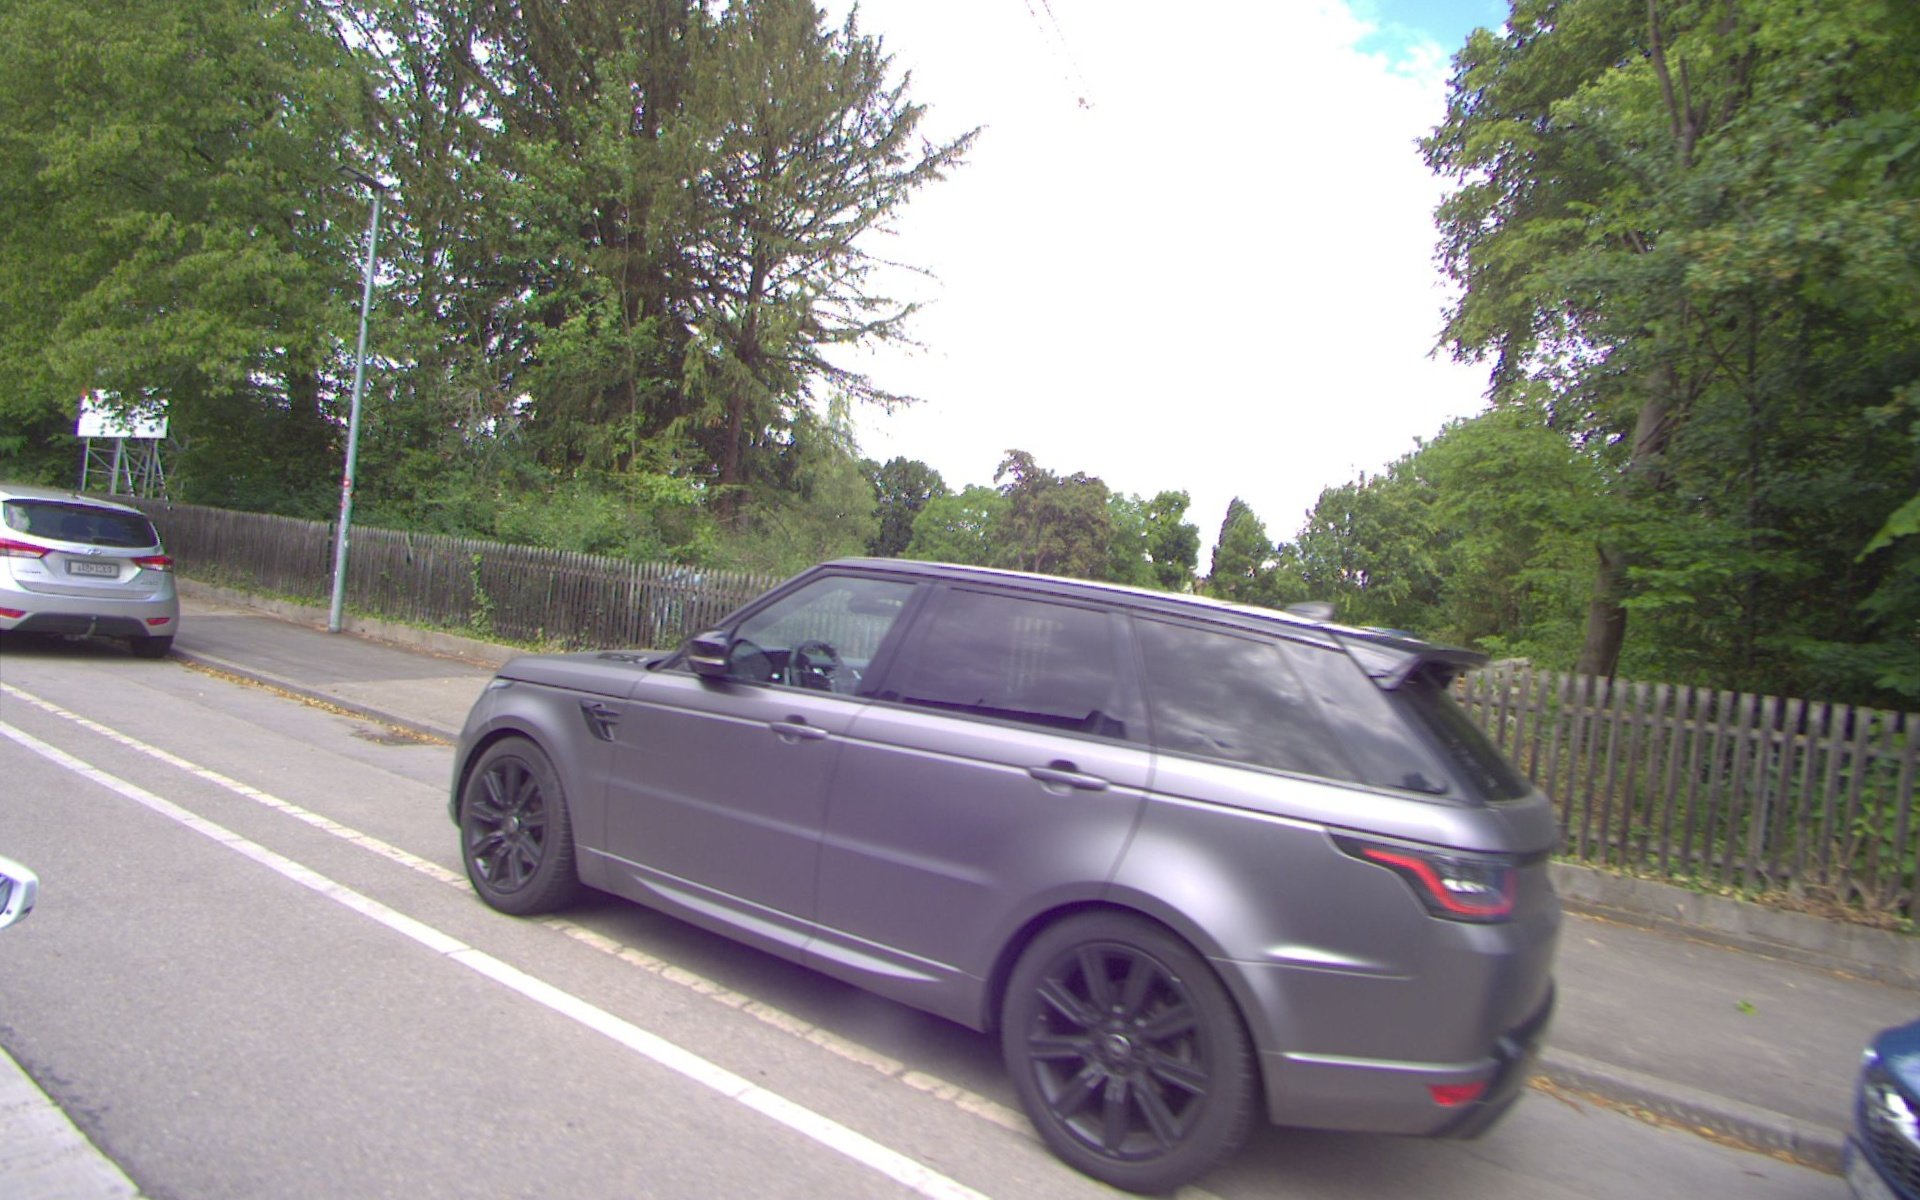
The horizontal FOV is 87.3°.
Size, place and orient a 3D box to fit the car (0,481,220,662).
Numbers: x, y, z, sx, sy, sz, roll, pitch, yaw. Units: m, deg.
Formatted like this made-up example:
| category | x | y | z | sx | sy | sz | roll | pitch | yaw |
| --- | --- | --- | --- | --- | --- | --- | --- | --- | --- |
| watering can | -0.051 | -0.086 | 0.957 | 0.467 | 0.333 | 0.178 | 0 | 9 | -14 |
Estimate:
| category | x | y | z | sx | sy | sz | roll | pitch | yaw |
| --- | --- | --- | --- | --- | --- | --- | --- | --- | --- |
| car | -10.270 | -0.441 | 10.957 | 4.346 | 1.609 | 1.866 | 7 | -1 | 30 |

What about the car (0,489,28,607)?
| category | x | y | z | sx | sy | sz | roll | pitch | yaw |
| --- | --- | --- | --- | --- | --- | --- | --- | --- | --- |
| car | -14.934 | -0.970 | 13.813 | 4.602 | 1.532 | 1.819 | 6 | -2 | 31 |

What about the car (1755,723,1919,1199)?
| category | x | y | z | sx | sy | sz | roll | pitch | yaw |
| --- | --- | --- | --- | --- | --- | --- | --- | --- | --- |
| car | 4.152 | 1.306 | 1.856 | 3.855 | 1.519 | 1.688 | 6 | -1 | 30 |

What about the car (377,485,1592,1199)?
| category | x | y | z | sx | sy | sz | roll | pitch | yaw |
| --- | --- | --- | --- | --- | --- | --- | --- | --- | --- |
| car | -0.164 | 0.670 | 4.388 | 4.748 | 1.837 | 1.996 | 6 | -1 | 32 |
